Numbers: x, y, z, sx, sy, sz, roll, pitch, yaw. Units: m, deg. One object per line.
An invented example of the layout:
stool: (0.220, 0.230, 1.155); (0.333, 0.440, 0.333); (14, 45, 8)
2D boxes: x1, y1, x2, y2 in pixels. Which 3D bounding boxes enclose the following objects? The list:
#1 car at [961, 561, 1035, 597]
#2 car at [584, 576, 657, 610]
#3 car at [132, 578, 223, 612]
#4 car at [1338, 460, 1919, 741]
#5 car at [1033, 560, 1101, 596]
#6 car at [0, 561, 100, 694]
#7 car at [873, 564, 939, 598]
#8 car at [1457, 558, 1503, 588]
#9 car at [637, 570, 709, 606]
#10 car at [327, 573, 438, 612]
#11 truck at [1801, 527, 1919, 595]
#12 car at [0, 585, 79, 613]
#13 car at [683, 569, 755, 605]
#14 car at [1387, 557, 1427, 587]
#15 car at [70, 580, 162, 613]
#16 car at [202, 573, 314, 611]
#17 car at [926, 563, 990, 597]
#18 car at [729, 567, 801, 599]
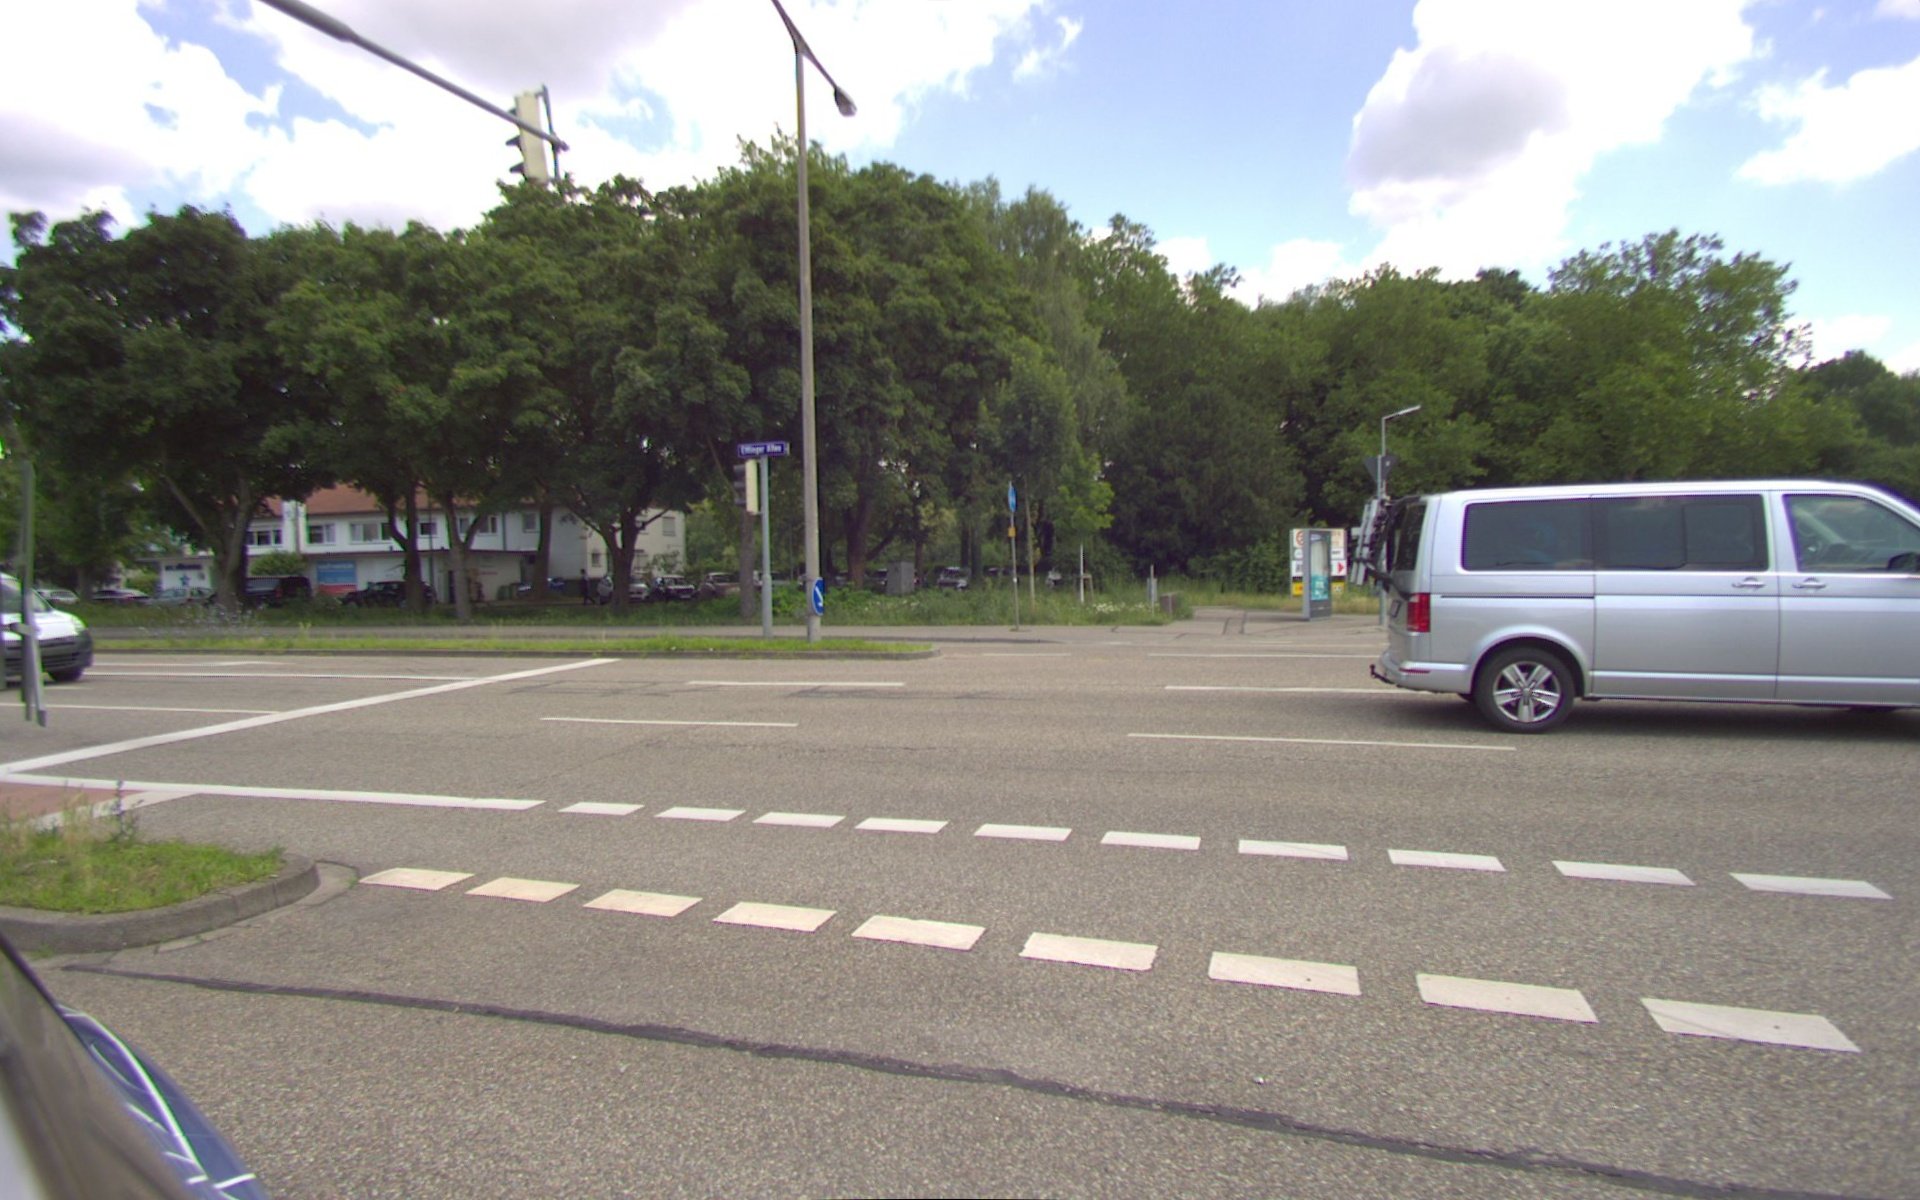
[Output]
car: (2.012, -1.097, 51.928); (2.037, 1.738, 4.535); (-1, 1, 28)
car: (-15.735, -0.335, 46.797); (1.968, 1.495, 4.032); (-2, 1, -37)
car: (-39.524, -0.268, 51.146); (3.635, 1.599, 1.912); (-1, 1, 17)
car: (5.880, -0.006, 8.141); (5.189, 1.932, 1.809); (-1, 1, 18)
car: (5.485, -1.123, 51.462); (2.066, 1.738, 4.089); (-1, 1, 28)
car: (-15.017, 0.387, 14.846); (4.122, 1.798, 1.738); (-1, 2, 19)
car: (-2.811, -1.030, 53.510); (1.808, 1.740, 4.094); (-1, 2, 25)
car: (28.301, -1.474, 55.173); (1.606, 1.519, 3.600); (0, 3, 17)
car: (-13.760, -0.575, 48.468); (1.968, 1.599, 4.032); (-2, 1, -37)
car: (-27.316, -0.360, 47.942); (4.311, 1.669, 1.810); (-1, 3, 6)
truck: (36.189, -1.553, 40.634); (3.032, 2.457, 6.905); (0, 2, 34)
car: (-48.818, -0.056, 53.646); (3.447, 1.341, 1.618); (-1, 1, 18)
car: (-11.967, -0.641, 50.057); (1.968, 1.599, 4.032); (-2, 0, -37)
car: (24.669, -1.554, 55.947); (1.606, 1.519, 3.600); (0, 3, 17)
car: (-43.652, -0.198, 52.341); (3.989, 1.599, 1.754); (-1, 1, 18)
car: (-34.136, -0.375, 49.250); (4.887, 1.723, 1.878); (-1, 1, 18)
car: (-0.055, -1.066, 52.963); (1.808, 1.722, 4.094); (-1, 2, 25)
car: (-9.945, -0.855, 51.457); (1.968, 1.556, 4.032); (-2, 1, -37)
